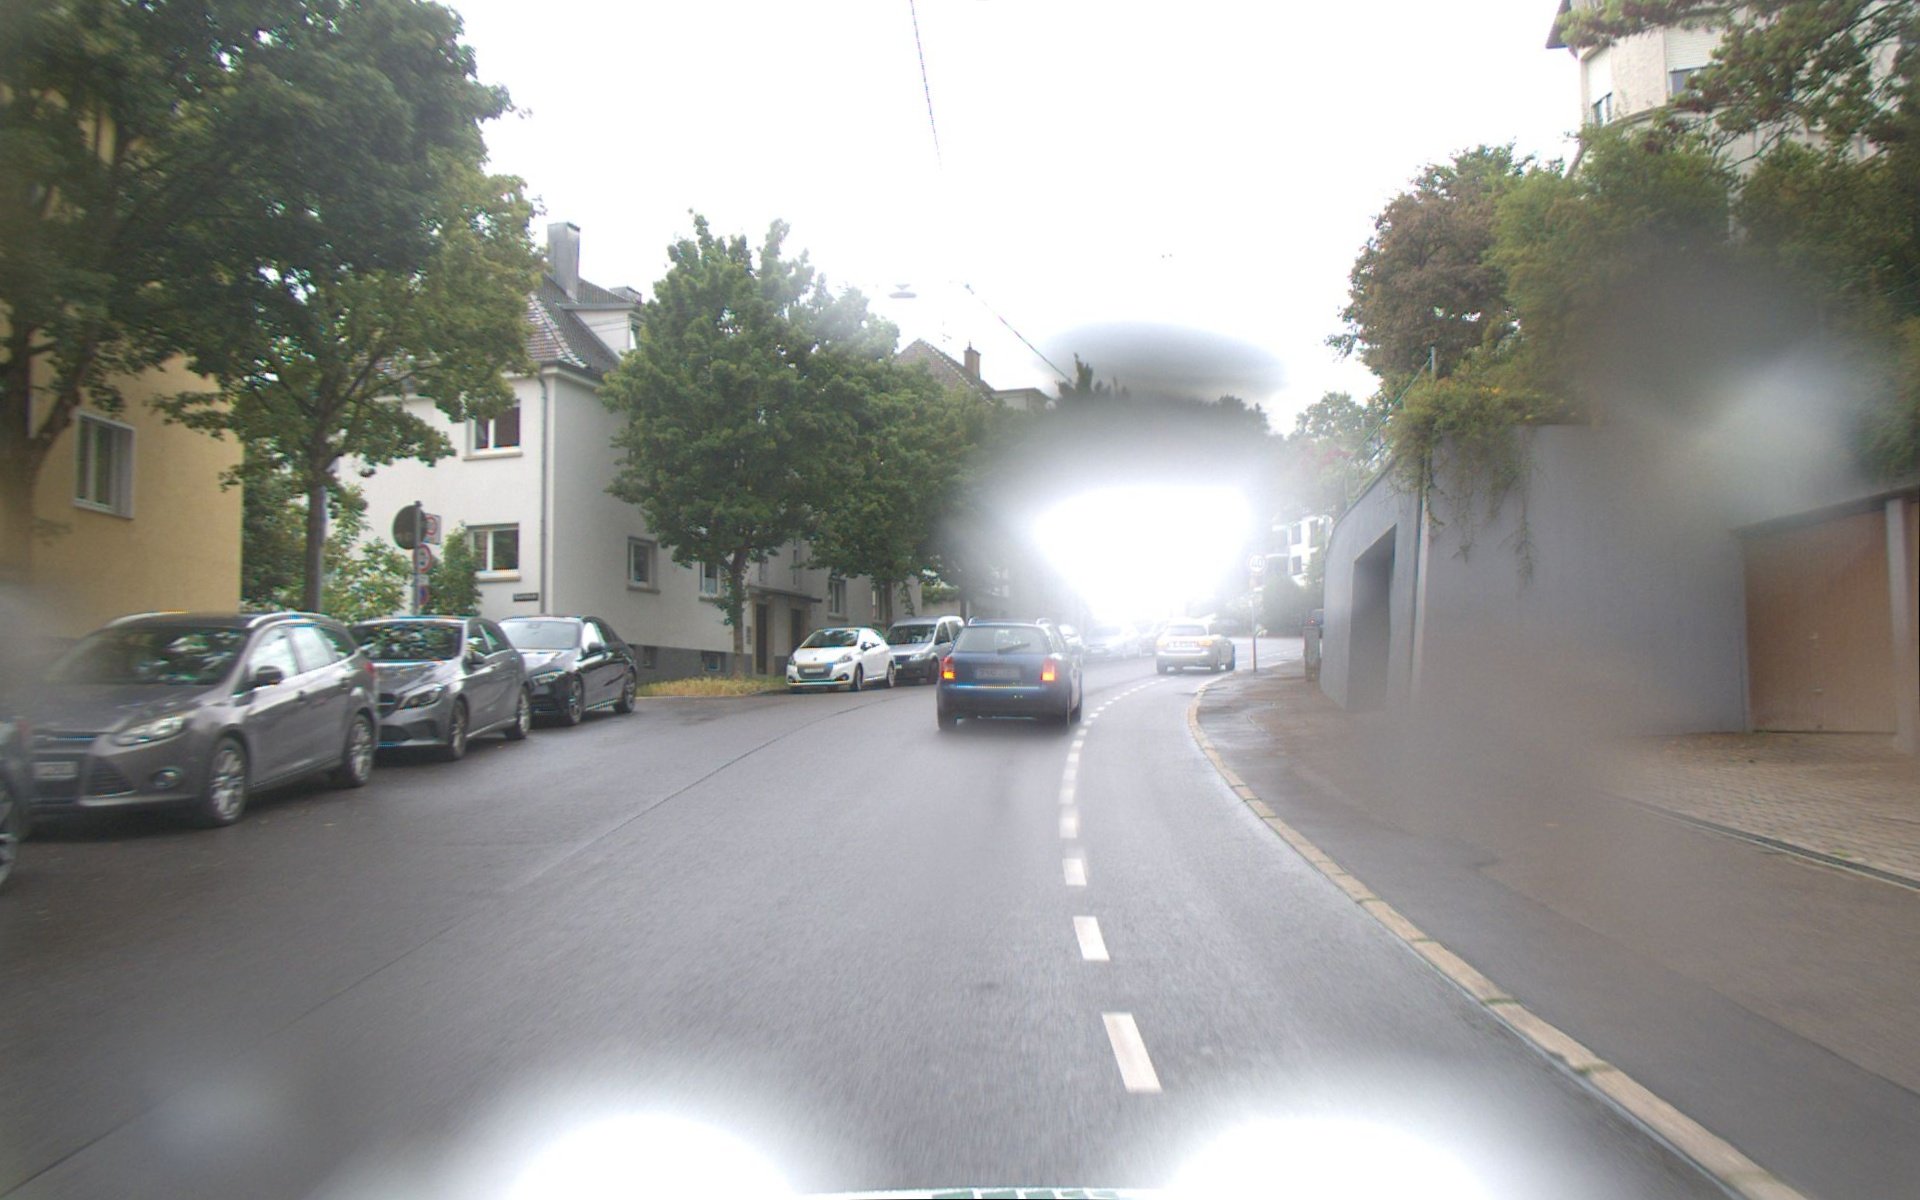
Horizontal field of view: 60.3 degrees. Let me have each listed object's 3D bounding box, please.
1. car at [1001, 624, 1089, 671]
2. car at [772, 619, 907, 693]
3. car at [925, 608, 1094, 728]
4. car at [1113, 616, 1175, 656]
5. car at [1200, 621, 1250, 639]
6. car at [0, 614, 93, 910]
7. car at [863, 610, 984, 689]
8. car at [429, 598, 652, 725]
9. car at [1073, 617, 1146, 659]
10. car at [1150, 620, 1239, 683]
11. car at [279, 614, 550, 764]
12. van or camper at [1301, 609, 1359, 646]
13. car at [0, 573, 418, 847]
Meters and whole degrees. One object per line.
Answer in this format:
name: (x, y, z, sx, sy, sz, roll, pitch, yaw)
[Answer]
car: (2.870, 1.583, 54.710, 1.767, 1.479, 4.598, 0, -2, 18)
car: (-2.770, 1.340, 39.145, 1.747, 1.541, 4.348, -4, -3, 16)
car: (0.773, 0.855, 22.409, 1.814, 1.439, 4.364, -1, -1, 8)
car: (7.931, 1.531, 70.957, 1.767, 1.655, 4.140, -1, -1, 19)
car: (22.661, 2.576, 141.423, 4.127, 1.534, 1.722, 0, -1, -31)
car: (-5.775, 0.832, 7.165, 1.817, 1.525, 4.736, 0, 0, -4)
car: (-0.925, 1.361, 44.998, 1.874, 2.036, 4.549, 0, -2, 18)
car: (-5.693, 0.807, 23.037, 1.738, 1.567, 4.518, 1, -1, 3)
car: (5.904, 1.522, 64.950, 1.767, 1.579, 4.801, 0, -2, 19)
car: (6.705, 1.415, 47.031, 1.909, 1.588, 4.266, 2, 0, 16)
car: (-5.732, 0.865, 17.922, 1.581, 1.421, 4.321, 0, -1, -1)
van or camper: (21.519, 1.625, 96.149, 1.959, 2.049, 3.986, -1, -3, 34)
car: (-5.899, 0.716, 12.759, 1.815, 1.720, 4.555, 1, -1, 1)
